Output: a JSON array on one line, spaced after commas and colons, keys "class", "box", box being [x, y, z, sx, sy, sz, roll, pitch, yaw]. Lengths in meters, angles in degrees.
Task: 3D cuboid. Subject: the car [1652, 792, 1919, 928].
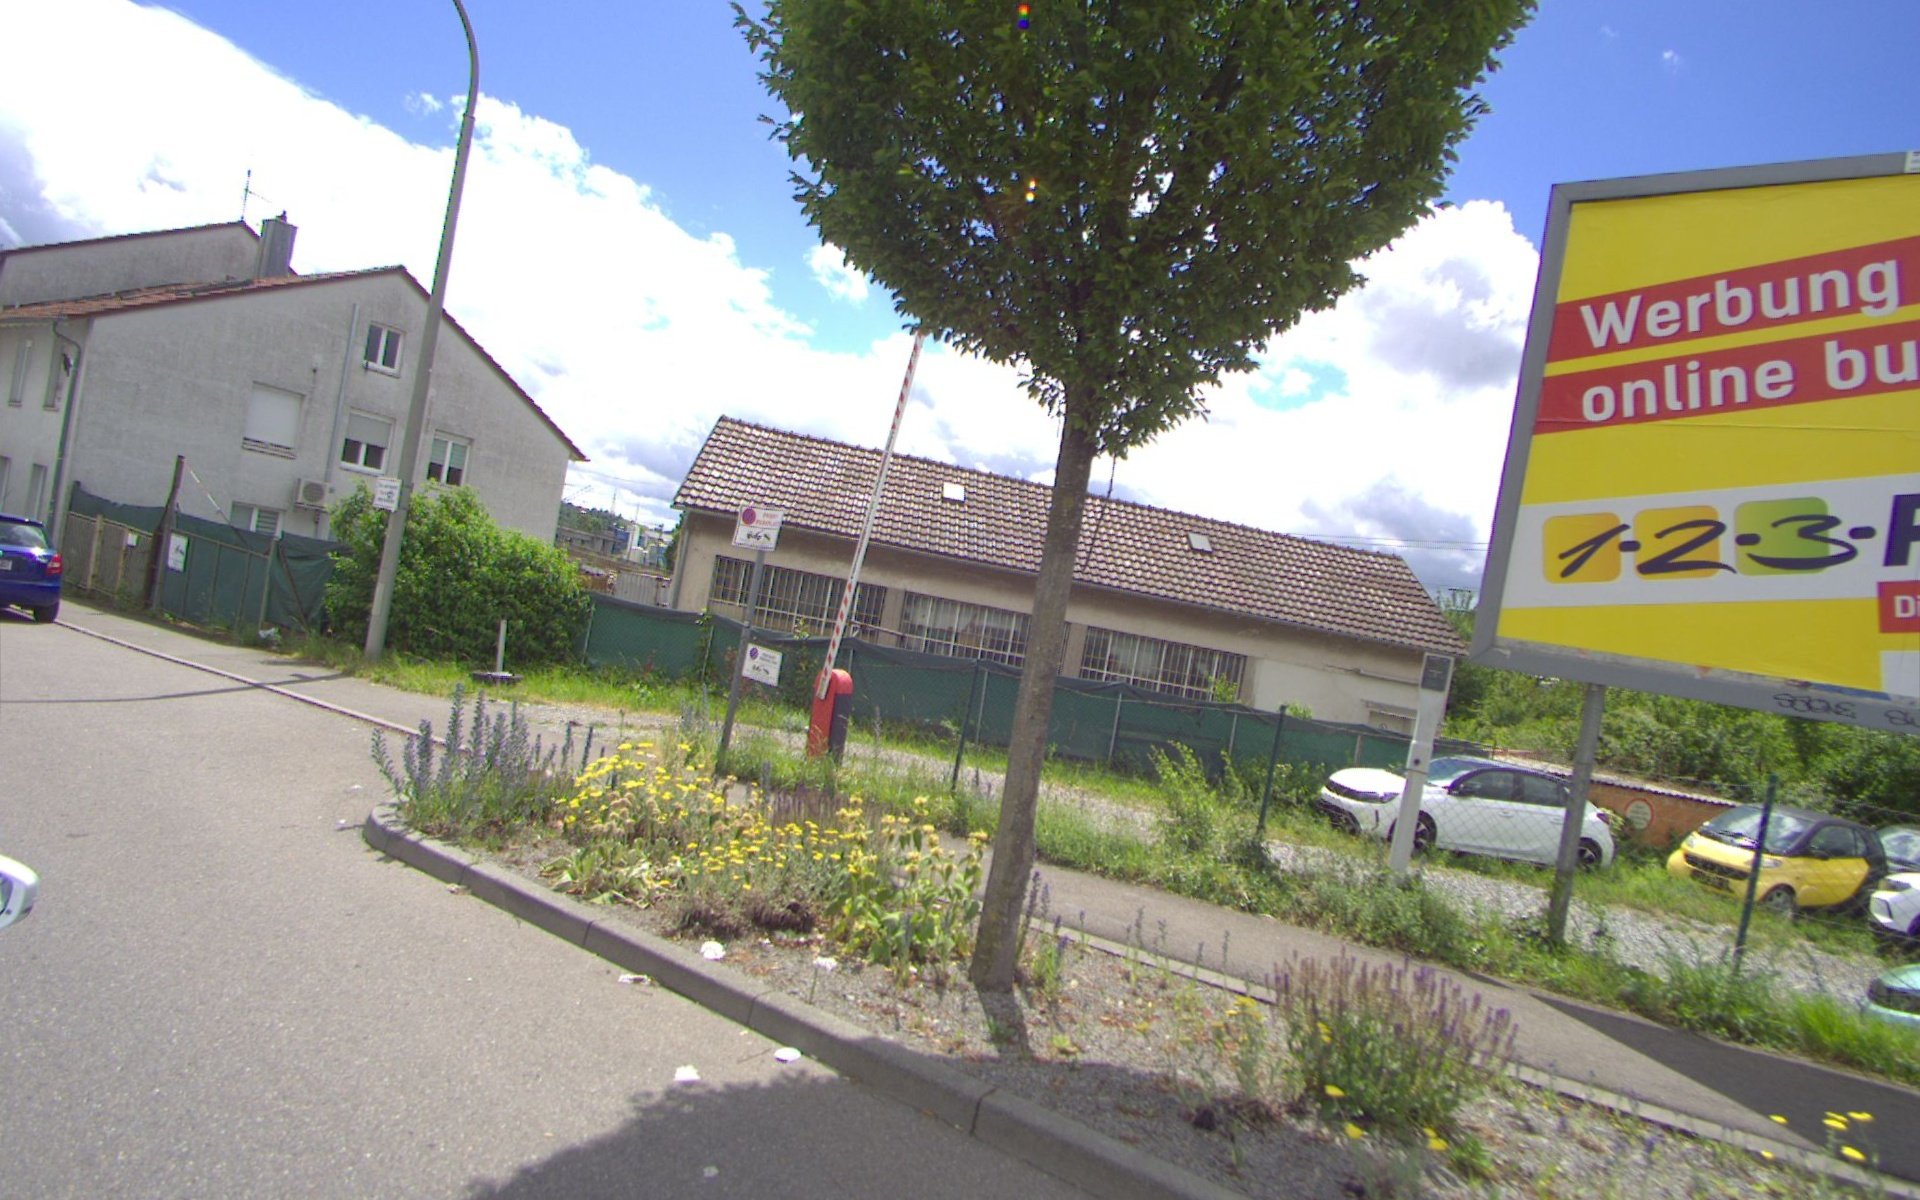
[{"class": "car", "box": [12.275, 3.746, 14.498, 3.981, 1.407, 1.520, 7, -1, -16]}]

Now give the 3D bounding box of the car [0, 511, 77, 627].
[{"class": "car", "box": [-14.903, -0.642, 14.982, 4.029, 1.527, 1.569, 6, -2, 35]}]

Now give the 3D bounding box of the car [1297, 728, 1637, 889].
[{"class": "car", "box": [7.283, 2.989, 14.683, 3.974, 1.406, 1.743, 10, -1, -5]}]

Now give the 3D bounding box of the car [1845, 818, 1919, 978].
[{"class": "car", "box": [13.040, 3.801, 11.025, 1.739, 1.705, 4.634, 7, 0, -35]}]
